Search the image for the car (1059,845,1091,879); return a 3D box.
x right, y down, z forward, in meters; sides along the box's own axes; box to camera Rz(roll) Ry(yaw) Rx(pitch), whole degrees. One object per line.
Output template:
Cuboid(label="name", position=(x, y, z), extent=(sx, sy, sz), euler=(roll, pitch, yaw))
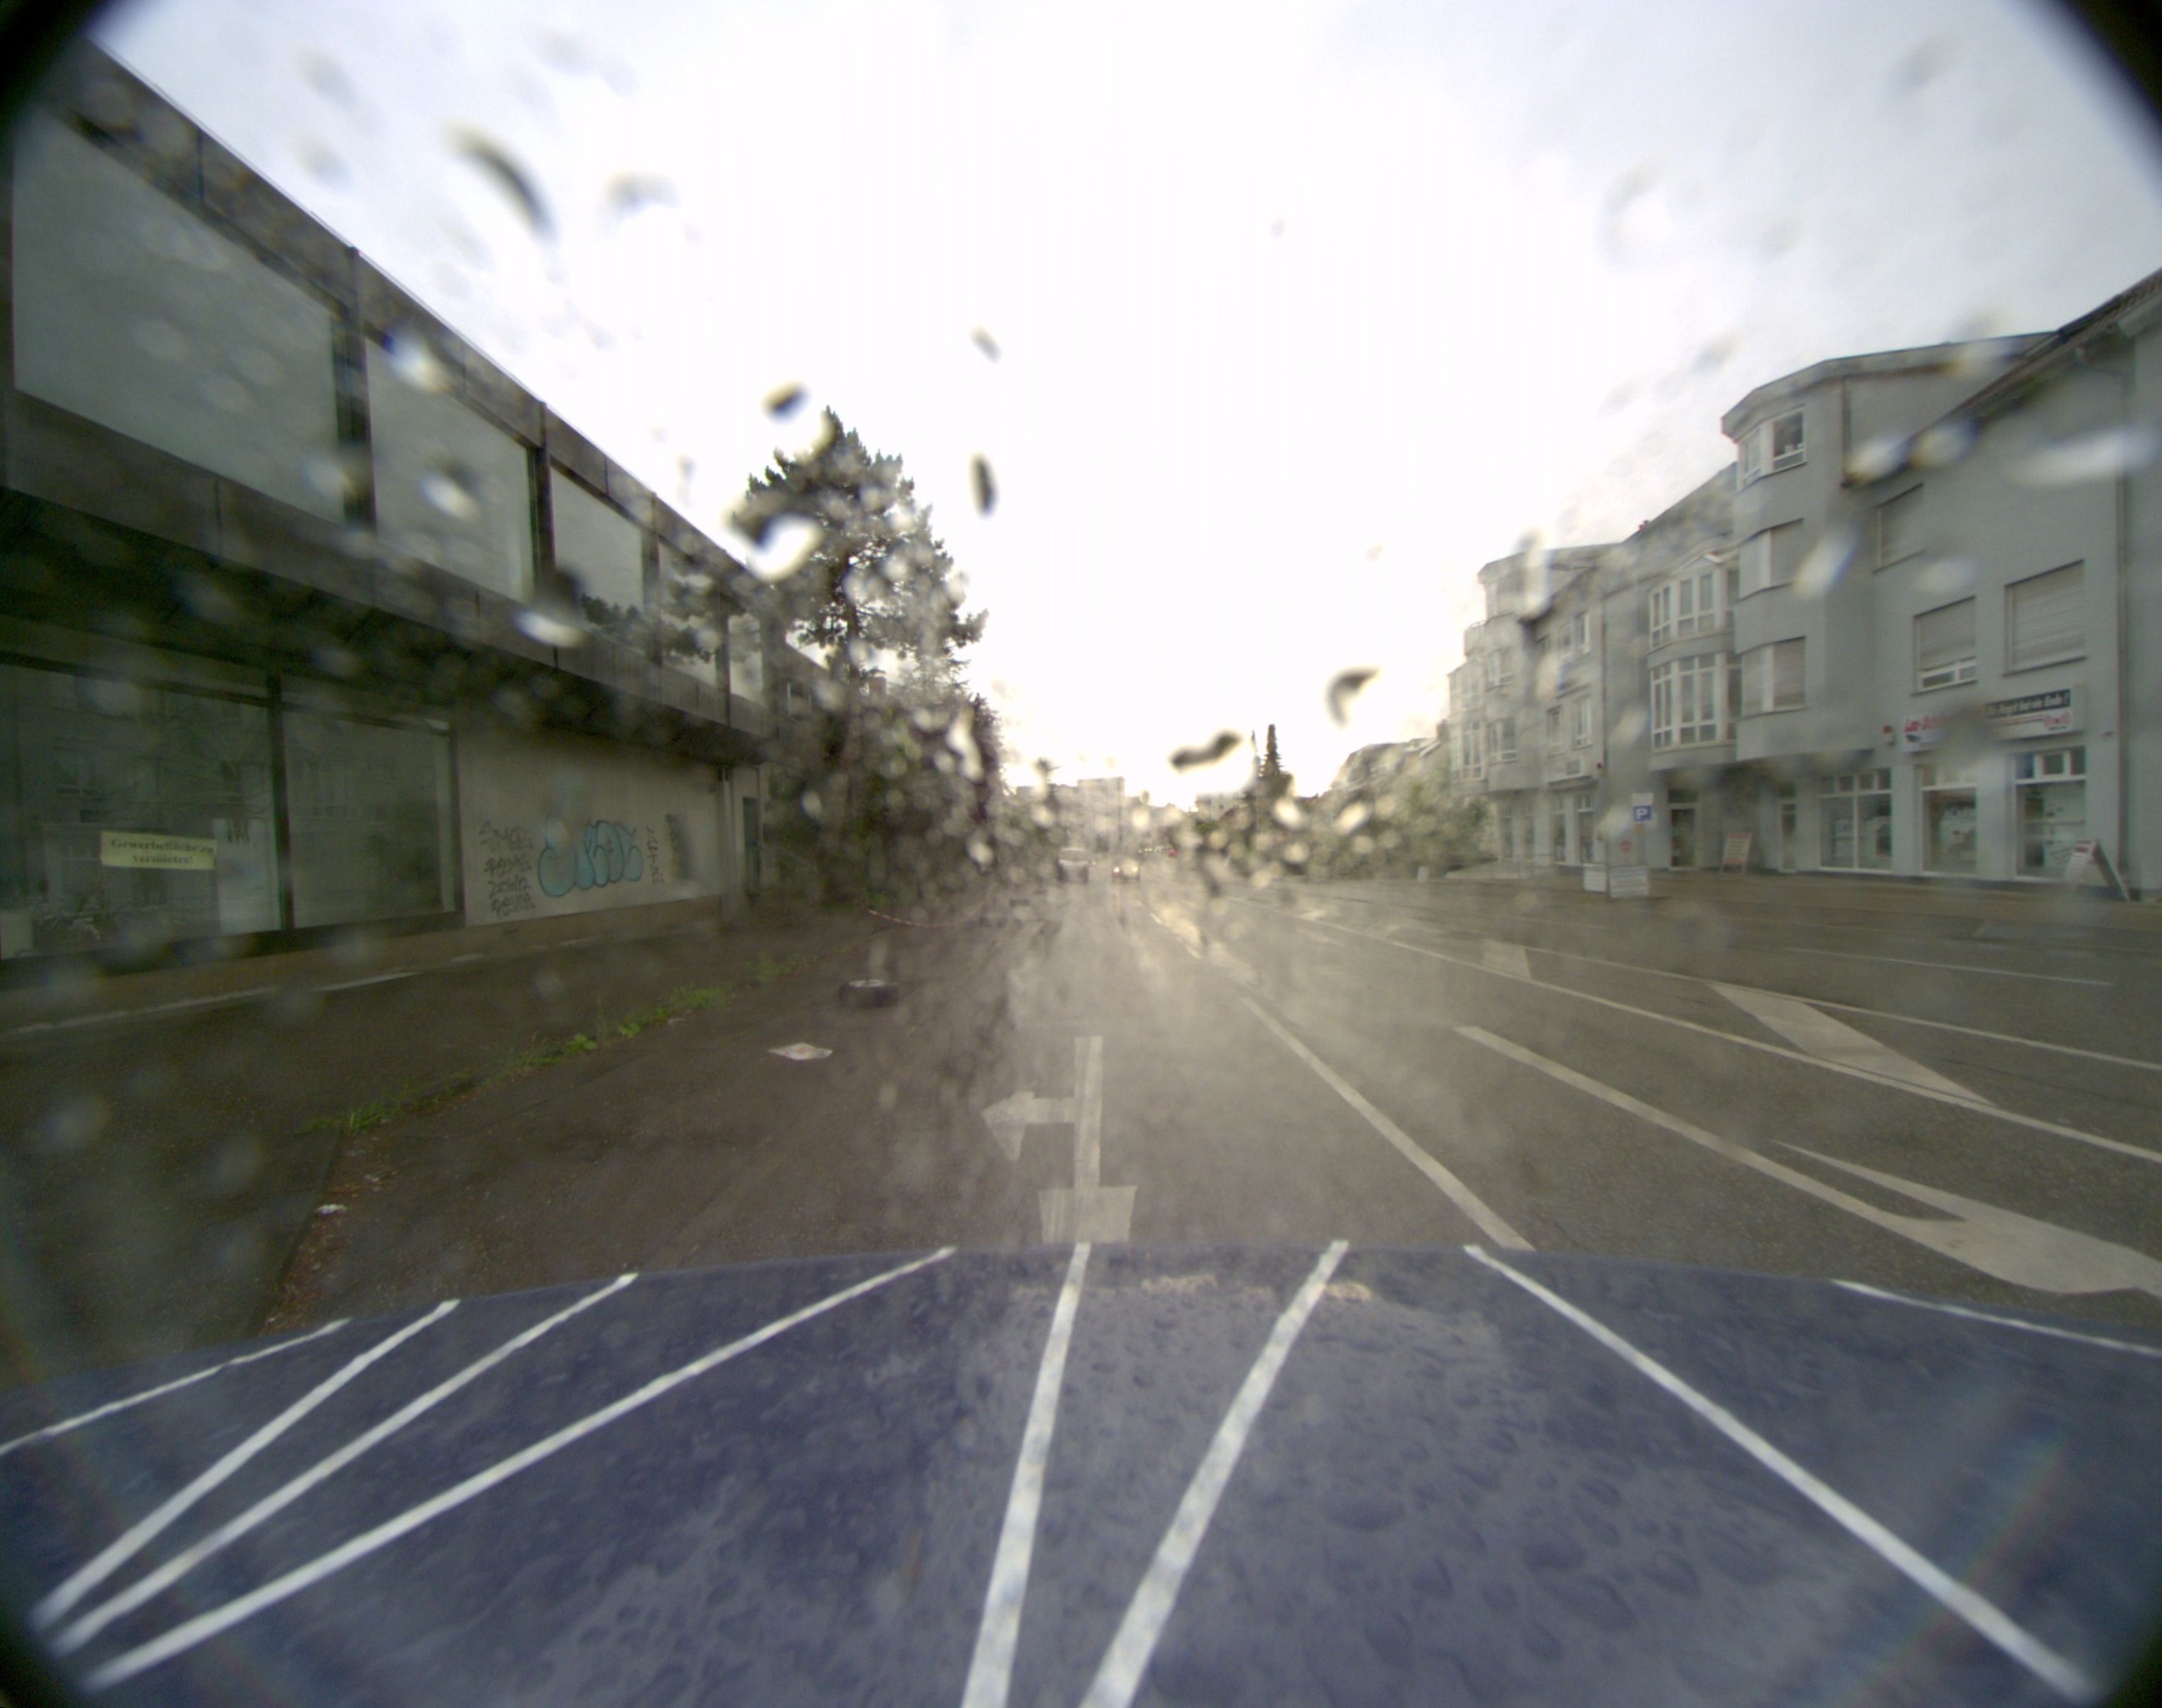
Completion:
Cuboid(label="car", position=(-0.354, 0.477, 50.418), extent=(1.998, 2.072, 3.999), euler=(-2, 1, 1))

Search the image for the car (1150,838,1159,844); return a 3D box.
Cuboid(label="car", position=(23.471, -4.076, 242.353), extent=(1.996, 1.808, 4.003), euler=(-2, 1, 14))

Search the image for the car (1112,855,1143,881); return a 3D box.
Cuboid(label="car", position=(2.949, 0.867, 49.354), extent=(1.754, 1.534, 4.676), euler=(-1, 1, 1))

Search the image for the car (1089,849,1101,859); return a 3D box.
Cuboid(label="car", position=(2.345, 0.006, 126.566), extent=(1.803, 1.675, 3.999), euler=(-2, 1, 1))

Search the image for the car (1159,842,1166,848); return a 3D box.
Cuboid(label="car", position=(25.065, -2.830, 234.328), extent=(1.998, 1.774, 4.000), euler=(-2, 1, 3))

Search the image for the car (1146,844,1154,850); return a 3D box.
Cuboid(label="car", position=(20.367, -2.046, 223.205), extent=(1.997, 1.723, 4.002), euler=(-2, 1, 9))
